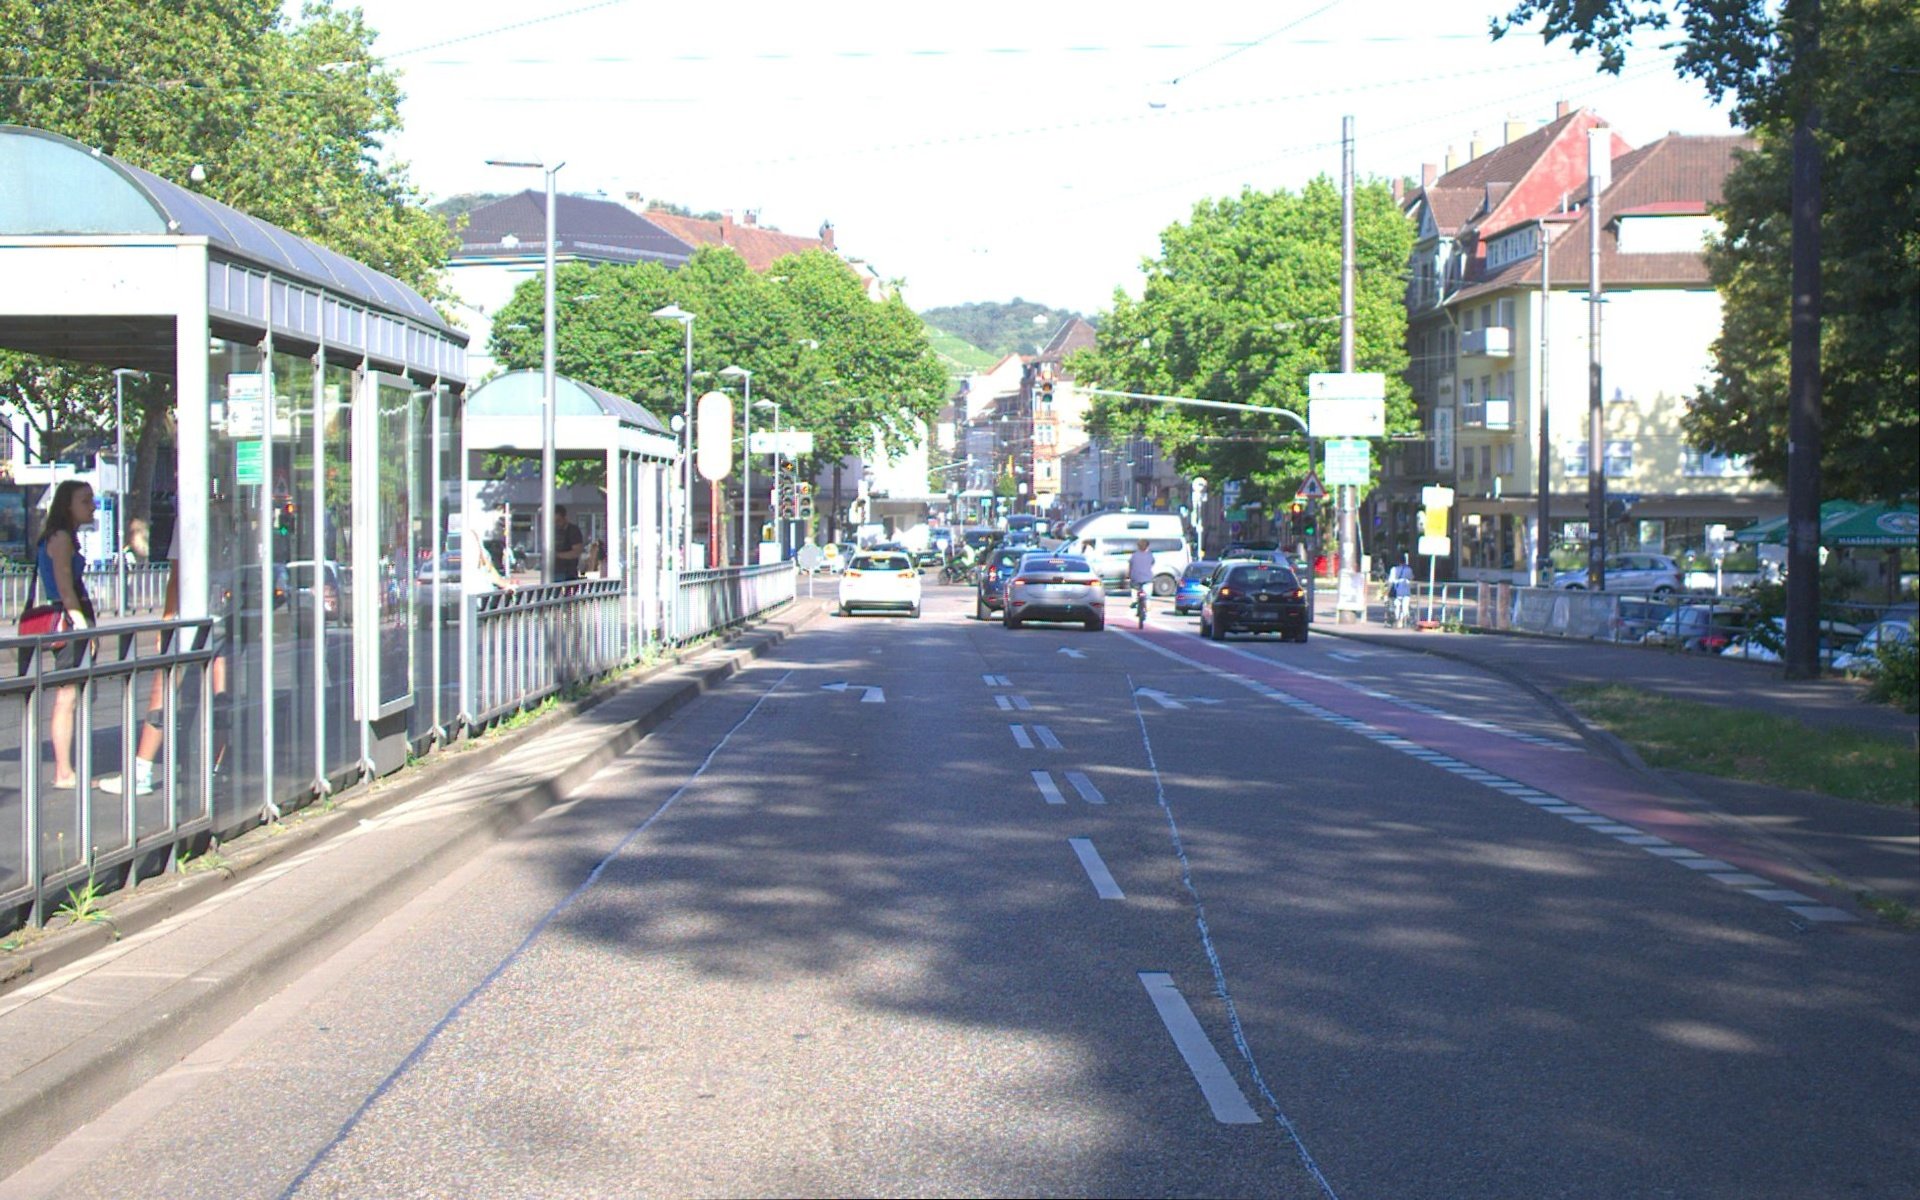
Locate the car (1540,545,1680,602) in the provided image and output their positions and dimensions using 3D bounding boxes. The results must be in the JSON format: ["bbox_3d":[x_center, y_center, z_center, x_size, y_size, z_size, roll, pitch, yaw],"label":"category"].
[{"bbox_3d":[20.457,-0.840,108.159,4.150,1.686,1.820,1,1,17],"label":"car"}]

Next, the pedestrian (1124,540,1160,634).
[{"bbox_3d":[3.635,-0.260,68.642,0.657,1.864,0.678,0,1,-1],"label":"pedestrian"}]

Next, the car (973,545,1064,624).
[{"bbox_3d":[1.249,-0.361,75.244,1.800,1.632,4.045,1,1,-1],"label":"car"}]

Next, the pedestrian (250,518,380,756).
[{"bbox_3d":[-4.747,0.266,25.295,0.651,1.716,0.710,1,1,-36],"label":"pedestrian"}]

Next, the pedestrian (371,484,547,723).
[{"bbox_3d":[-3.532,0.022,24.255,0.801,1.628,0.865,3,1,37],"label":"pedestrian"}]

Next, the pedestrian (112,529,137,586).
[{"bbox_3d":[-22.719,-1.162,93.512,0.535,1.546,0.677,0,1,-1],"label":"pedestrian"}]

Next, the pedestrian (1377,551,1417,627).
[{"bbox_3d":[9.200,-0.229,72.316,0.648,1.558,0.631,3,1,18],"label":"pedestrian"}]

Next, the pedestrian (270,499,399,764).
[{"bbox_3d":[-4.438,0.214,24.423,0.651,1.835,0.710,2,1,9],"label":"pedestrian"}]

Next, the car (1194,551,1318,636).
[{"bbox_3d":[5.373,-0.145,62.817,1.800,1.434,4.045,2,1,-1],"label":"car"}]

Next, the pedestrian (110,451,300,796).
[{"bbox_3d":[-3.815,0.111,17.416,0.742,1.688,0.791,2,1,0],"label":"pedestrian"}]

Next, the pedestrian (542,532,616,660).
[{"bbox_3d":[-3.956,-0.045,35.716,0.678,1.304,0.593,1,0,0],"label":"pedestrian"}]

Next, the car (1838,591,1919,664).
[{"bbox_3d":[19.872,0.523,70.021,3.988,1.343,1.779,-2,2,-38],"label":"car"}]

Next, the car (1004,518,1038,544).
[{"bbox_3d":[3.538,-4.026,200.000,1.794,1.505,4.001,0,1,-2],"label":"car"}]

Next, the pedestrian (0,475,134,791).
[{"bbox_3d":[-4.596,0.162,17.481,0.588,1.561,0.650,2,1,0],"label":"pedestrian"}]

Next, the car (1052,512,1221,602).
[{"bbox_3d":[5.590,-1.350,109.204,5.013,2.733,2.074,1,0,-7],"label":"car"}]

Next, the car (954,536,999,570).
[{"bbox_3d":[0.891,-2.560,185.390,1.795,1.820,3.999,1,1,9],"label":"car"}]

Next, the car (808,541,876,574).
[{"bbox_3d":[-5.625,-2.021,163.867,1.726,1.505,3.871,0,0,24],"label":"car"}]

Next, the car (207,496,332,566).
[{"bbox_3d":[-31.989,-3.196,159.441,2.499,3.154,6.528,1,1,22],"label":"car"}]

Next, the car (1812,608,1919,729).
[{"bbox_3d":[13.410,0.939,47.957,1.794,1.573,4.553,1,0,-1],"label":"car"}]

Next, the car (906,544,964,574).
[{"bbox_3d":[-1.274,-2.108,177.946,1.796,1.505,3.996,0,0,18],"label":"car"}]

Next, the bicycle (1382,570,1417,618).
[{"bbox_3d":[10.020,-0.137,78.429,0.498,1.071,1.800,1,0,-1],"label":"bicycle"}]

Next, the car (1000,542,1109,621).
[{"bbox_3d":[1.831,-0.389,68.115,1.929,1.467,4.855,1,1,-1],"label":"car"}]

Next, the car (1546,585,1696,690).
[{"bbox_3d":[12.661,0.689,66.063,1.794,1.891,4.360,1,0,-3],"label":"car"}]

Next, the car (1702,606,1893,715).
[{"bbox_3d":[13.078,0.910,53.964,1.794,1.573,4.443,1,0,-1],"label":"car"}]

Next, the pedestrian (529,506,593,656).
[{"bbox_3d":[-4.534,-0.216,39.072,0.595,1.672,0.589,1,0,4],"label":"pedestrian"}]

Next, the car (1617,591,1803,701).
[{"bbox_3d":[13.083,0.772,60.212,1.794,1.796,4.212,1,0,-8],"label":"car"}]

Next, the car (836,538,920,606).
[{"bbox_3d":[-1.843,-0.652,76.952,1.808,1.447,4.000,1,1,-1],"label":"car"}]
